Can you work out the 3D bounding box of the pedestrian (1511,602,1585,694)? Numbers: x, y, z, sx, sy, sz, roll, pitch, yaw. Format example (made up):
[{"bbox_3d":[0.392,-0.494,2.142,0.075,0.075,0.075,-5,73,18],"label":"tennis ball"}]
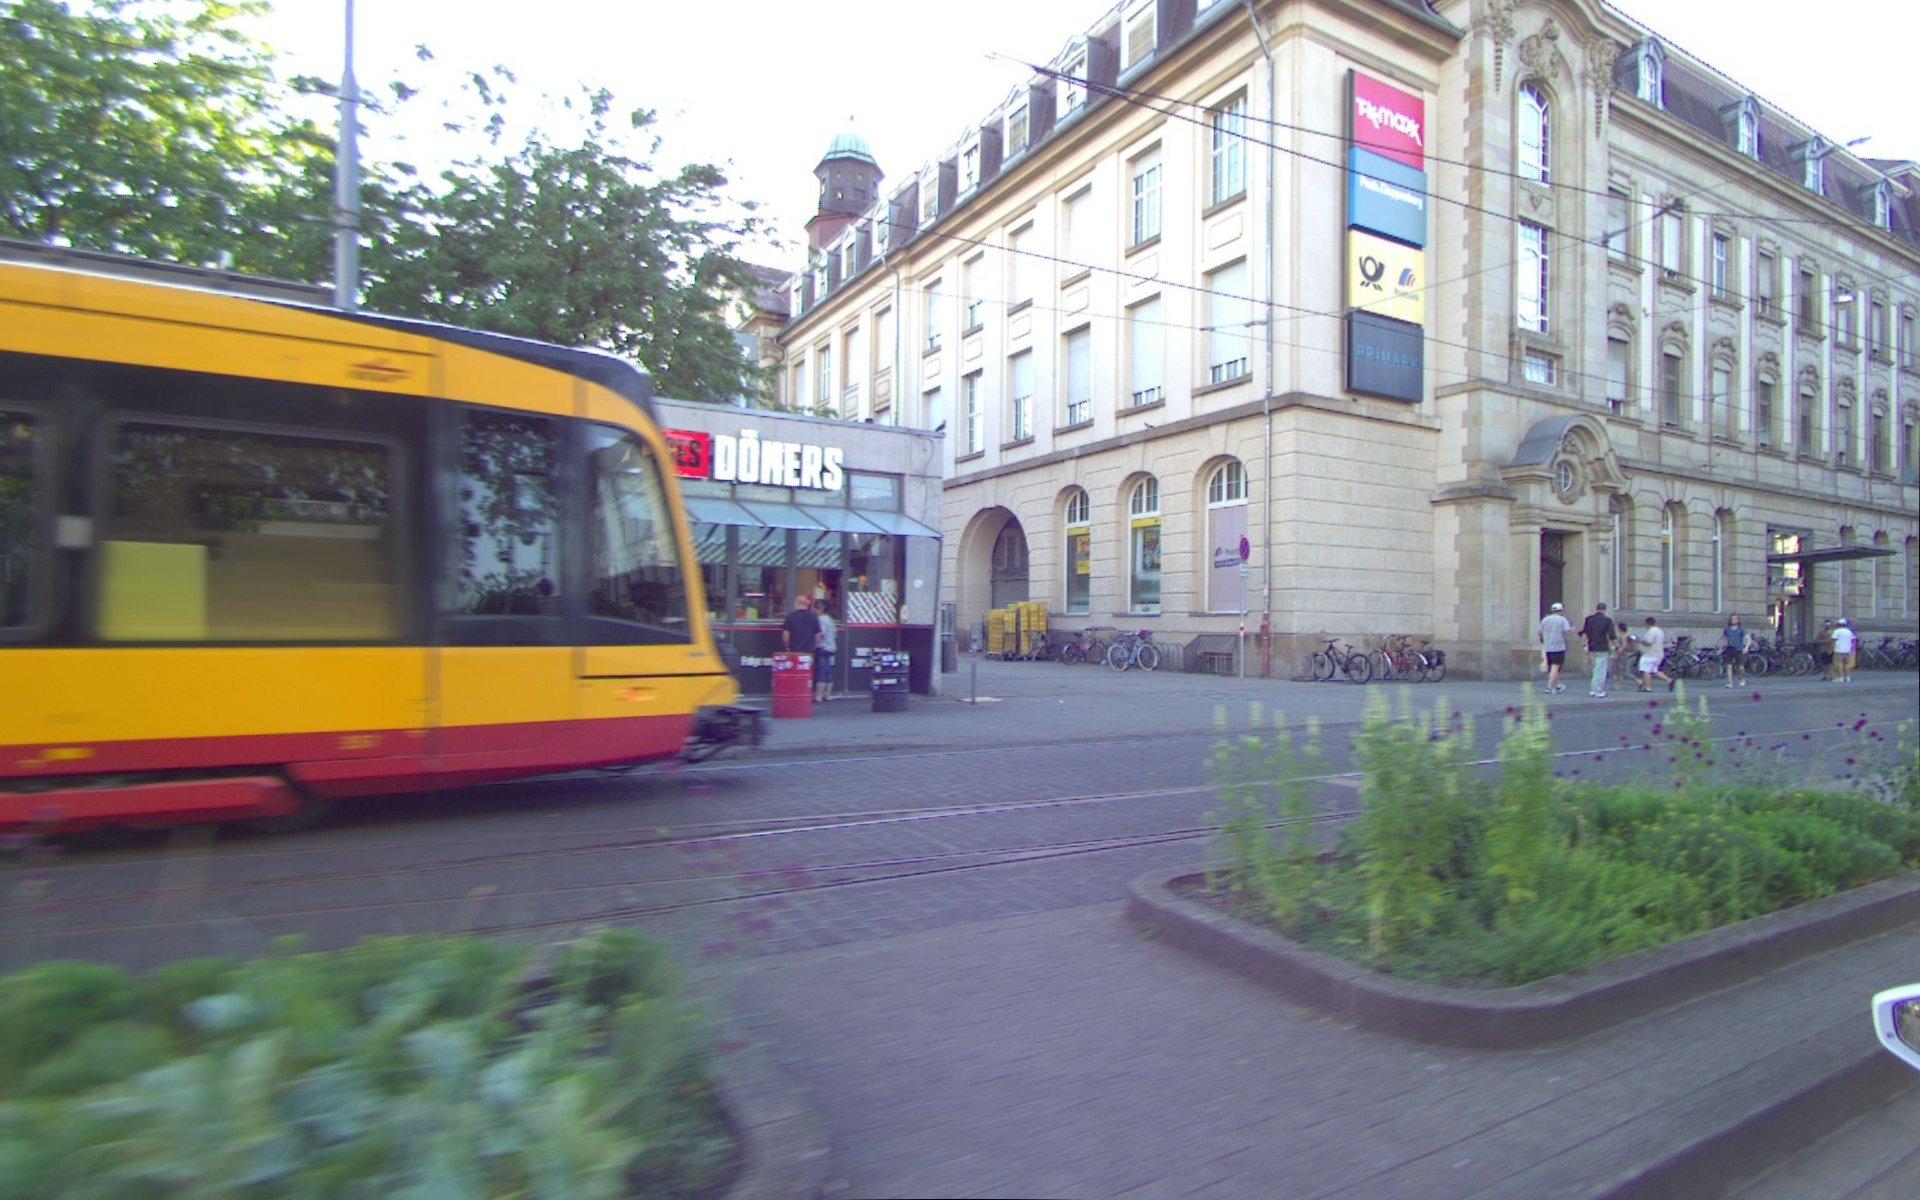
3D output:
[{"bbox_3d":[12.053,0.979,20.596,0.893,1.809,0.961,3,-2,-24],"label":"pedestrian"}]

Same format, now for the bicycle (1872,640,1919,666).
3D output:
[{"bbox_3d":[36.510,2.051,39.043,0.356,0.961,1.569,4,-3,-41],"label":"bicycle"}]

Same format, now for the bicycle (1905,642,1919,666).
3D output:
[{"bbox_3d":[39.025,2.170,40.320,0.356,0.961,1.569,4,-3,-41],"label":"bicycle"}]

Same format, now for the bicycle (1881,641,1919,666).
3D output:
[{"bbox_3d":[37.480,2.105,39.694,0.356,0.961,1.569,4,-3,-41],"label":"bicycle"}]

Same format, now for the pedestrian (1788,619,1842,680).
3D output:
[{"bbox_3d":[25.312,1.457,29.737,0.866,1.742,0.874,2,-2,-6],"label":"pedestrian"}]

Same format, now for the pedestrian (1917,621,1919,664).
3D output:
[{"bbox_3d":[37.468,1.648,38.958,0.511,1.695,0.479,0,-1,45],"label":"pedestrian"}]

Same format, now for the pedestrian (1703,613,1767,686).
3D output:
[{"bbox_3d":[18.900,1.208,24.497,1.117,1.732,0.869,3,-2,-29],"label":"pedestrian"}]

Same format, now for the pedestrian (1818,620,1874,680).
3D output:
[{"bbox_3d":[25.343,1.425,28.736,0.861,1.675,0.879,2,-2,-16],"label":"pedestrian"}]

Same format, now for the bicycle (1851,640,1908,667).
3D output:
[{"bbox_3d":[35.048,2.035,38.294,0.356,0.961,1.569,4,-3,-41],"label":"bicycle"}]

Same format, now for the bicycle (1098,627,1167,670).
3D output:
[{"bbox_3d":[4.786,1.326,27.781,2.083,1.163,0.569,1,-1,-35],"label":"bicycle"}]

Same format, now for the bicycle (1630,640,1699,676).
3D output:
[{"bbox_3d":[20.051,1.638,28.602,0.356,0.961,1.569,2,-2,-41],"label":"bicycle"}]

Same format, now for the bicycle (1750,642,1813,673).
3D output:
[{"bbox_3d":[27.137,1.894,33.196,0.356,0.961,1.569,4,-3,-41],"label":"bicycle"}]

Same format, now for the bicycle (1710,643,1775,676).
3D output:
[{"bbox_3d":[24.300,1.828,31.203,0.356,0.961,1.569,3,-2,-41],"label":"bicycle"}]

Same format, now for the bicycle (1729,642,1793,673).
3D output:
[{"bbox_3d":[25.653,1.837,32.195,0.356,0.961,1.569,4,-3,-41],"label":"bicycle"}]

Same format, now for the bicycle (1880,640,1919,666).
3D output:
[{"bbox_3d":[37.150,2.079,39.386,0.356,0.961,1.569,4,-3,-41],"label":"bicycle"}]

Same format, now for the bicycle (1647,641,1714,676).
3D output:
[{"bbox_3d":[21.127,1.709,29.483,0.356,0.961,1.569,4,-3,-41],"label":"bicycle"}]

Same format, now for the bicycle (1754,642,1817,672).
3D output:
[{"bbox_3d":[27.493,1.899,33.471,0.356,0.961,1.569,4,-3,-41],"label":"bicycle"}]

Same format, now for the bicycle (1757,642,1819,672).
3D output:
[{"bbox_3d":[27.830,1.899,33.766,0.356,0.961,1.569,4,-3,-41],"label":"bicycle"}]

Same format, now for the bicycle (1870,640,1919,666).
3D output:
[{"bbox_3d":[36.170,2.031,38.718,0.356,0.961,1.569,4,-3,-41],"label":"bicycle"}]

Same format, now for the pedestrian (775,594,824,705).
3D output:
[{"bbox_3d":[-2.581,0.789,16.178,0.614,1.754,0.495,1,-1,-34],"label":"pedestrian"}]

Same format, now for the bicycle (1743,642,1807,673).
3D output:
[{"bbox_3d":[26.445,1.858,32.618,0.356,0.961,1.569,4,-3,-41],"label":"bicycle"}]

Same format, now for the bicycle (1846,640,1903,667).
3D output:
[{"bbox_3d":[34.387,2.017,37.786,0.356,0.961,1.569,3,-3,-39],"label":"bicycle"}]

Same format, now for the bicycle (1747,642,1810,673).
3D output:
[{"bbox_3d":[26.786,1.878,32.898,0.356,0.961,1.569,3,-3,-40],"label":"bicycle"}]

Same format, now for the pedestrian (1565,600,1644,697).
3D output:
[{"bbox_3d":[12.539,0.945,19.563,0.893,1.834,0.961,3,-2,-24],"label":"pedestrian"}]

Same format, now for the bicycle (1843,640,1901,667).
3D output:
[{"bbox_3d":[34.041,2.000,37.493,0.356,0.961,1.569,4,-3,-41],"label":"bicycle"}]

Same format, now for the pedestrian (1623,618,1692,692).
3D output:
[{"bbox_3d":[15.011,1.182,21.640,1.016,1.533,0.719,1,-2,14],"label":"pedestrian"}]

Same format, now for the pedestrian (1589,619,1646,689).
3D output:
[{"bbox_3d":[14.829,1.215,22.677,0.846,1.533,0.760,1,-2,14],"label":"pedestrian"}]

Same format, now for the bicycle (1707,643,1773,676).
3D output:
[{"bbox_3d":[23.979,1.812,30.897,0.356,0.961,1.569,4,-3,-41],"label":"bicycle"}]

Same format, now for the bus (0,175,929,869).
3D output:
[{"bbox_3d":[-6.001,-0.394,6.370,11.683,3.660,2.809,2,-2,-30],"label":"bus"}]

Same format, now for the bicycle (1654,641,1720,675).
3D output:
[{"bbox_3d":[21.736,1.739,30.037,0.356,0.961,1.569,4,-3,-41],"label":"bicycle"}]

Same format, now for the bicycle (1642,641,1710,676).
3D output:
[{"bbox_3d":[20.785,1.691,29.187,0.356,0.961,1.568,4,-3,-41],"label":"bicycle"}]

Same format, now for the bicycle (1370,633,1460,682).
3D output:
[{"bbox_3d":[11.364,1.429,25.145,0.569,1.163,2.064,3,-3,-34],"label":"bicycle"}]

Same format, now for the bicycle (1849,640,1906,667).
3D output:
[{"bbox_3d":[34.707,2.025,38.024,0.356,0.961,1.569,4,-3,-41],"label":"bicycle"}]

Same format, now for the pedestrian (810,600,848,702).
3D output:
[{"bbox_3d":[-2.181,0.844,16.734,0.411,1.661,0.540,0,-1,20],"label":"pedestrian"}]

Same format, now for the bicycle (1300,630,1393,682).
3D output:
[{"bbox_3d":[9.099,1.311,23.735,0.569,1.163,2.084,3,-3,-34],"label":"bicycle"}]

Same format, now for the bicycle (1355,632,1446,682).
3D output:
[{"bbox_3d":[10.829,1.391,24.755,0.569,1.163,2.084,3,-3,-34],"label":"bicycle"}]

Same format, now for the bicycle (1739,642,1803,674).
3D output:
[{"bbox_3d":[26.106,1.853,32.342,0.356,0.961,1.569,4,-3,-41],"label":"bicycle"}]

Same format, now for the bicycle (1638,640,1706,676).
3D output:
[{"bbox_3d":[20.482,1.663,28.928,0.356,0.961,1.569,3,-3,-41],"label":"bicycle"}]

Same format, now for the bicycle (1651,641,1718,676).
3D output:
[{"bbox_3d":[21.437,1.721,29.755,0.356,0.961,1.569,4,-3,-41],"label":"bicycle"}]

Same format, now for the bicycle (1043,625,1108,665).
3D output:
[{"bbox_3d":[3.498,1.354,30.266,2.083,1.163,0.569,1,-1,-35],"label":"bicycle"}]
